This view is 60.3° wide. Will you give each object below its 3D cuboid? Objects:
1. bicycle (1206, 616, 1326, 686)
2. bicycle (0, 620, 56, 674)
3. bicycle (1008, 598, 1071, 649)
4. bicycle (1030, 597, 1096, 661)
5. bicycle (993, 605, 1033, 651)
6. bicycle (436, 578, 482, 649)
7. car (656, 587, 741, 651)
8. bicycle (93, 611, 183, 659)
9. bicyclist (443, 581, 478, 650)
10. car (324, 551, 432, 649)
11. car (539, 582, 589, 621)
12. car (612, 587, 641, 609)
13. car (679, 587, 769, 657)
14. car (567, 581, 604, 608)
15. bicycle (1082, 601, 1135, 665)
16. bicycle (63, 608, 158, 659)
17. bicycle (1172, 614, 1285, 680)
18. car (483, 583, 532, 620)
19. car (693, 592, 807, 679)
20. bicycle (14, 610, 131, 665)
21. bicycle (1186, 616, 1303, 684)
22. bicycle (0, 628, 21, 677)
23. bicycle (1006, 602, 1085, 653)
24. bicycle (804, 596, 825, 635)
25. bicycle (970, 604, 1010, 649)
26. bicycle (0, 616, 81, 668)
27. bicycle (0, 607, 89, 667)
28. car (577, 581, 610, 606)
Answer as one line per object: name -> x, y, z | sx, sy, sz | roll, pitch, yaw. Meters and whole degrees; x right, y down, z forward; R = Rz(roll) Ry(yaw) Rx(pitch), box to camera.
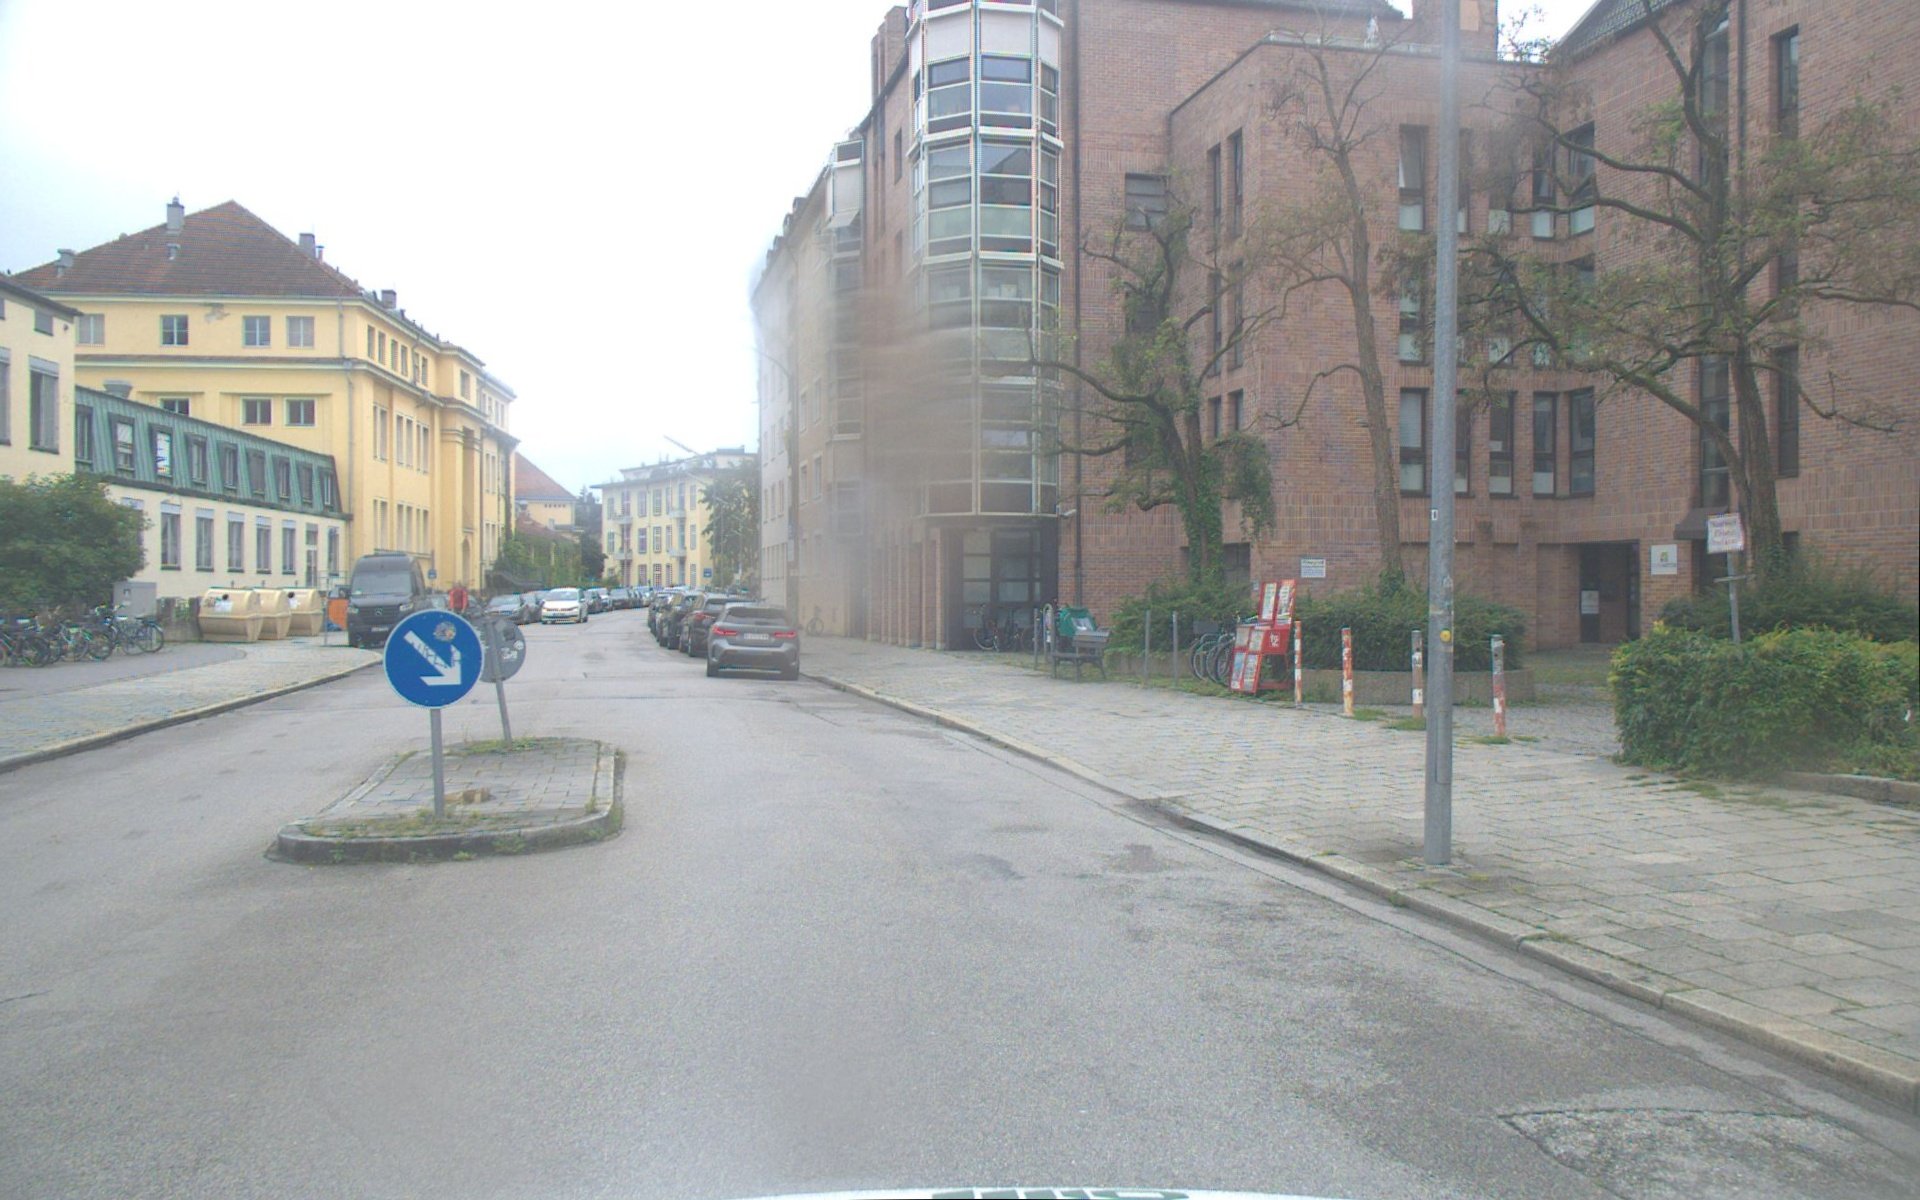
bicycle -> 4.570, 0.765, 24.721 | 1.670, 0.982, 0.545 | 1, 1, -12
bicycle -> -19.693, 0.955, 34.121 | 1.754, 1.051, 0.507 | 2, 1, -2
bicycle -> 1.917, 0.564, 39.849 | 1.448, 1.167, 0.382 | 2, 1, -6
bicycle -> 2.088, 0.587, 33.845 | 0.525, 1.270, 2.401 | 1, -1, -17
bicycle -> 1.303, 0.686, 41.033 | 0.478, 1.078, 1.989 | 1, 0, -14
bicycle -> -15.189, 0.384, 50.222 | 0.733, 2.048, 2.844 | -2, 1, -6
car -> -7.610, 0.515, 47.799 | 1.932, 1.630, 4.653 | 1, 1, -15
bicycle -> -20.444, 0.871, 41.152 | 1.866, 1.111, 0.677 | 2, 1, -2
bicyclist -> -15.237, 0.465, 50.476 | 0.752, 2.048, 0.767 | -3, 1, -6
car -> -17.706, 0.010, 50.621 | 2.380, 2.762, 5.933 | -1, 0, -13
car -> -18.734, 0.099, 78.360 | 1.989, 1.649, 4.493 | -2, -1, -10
car -> -25.882, -0.195, 128.560 | 1.956, 1.575, 3.992 | 2, 1, -9
car -> -6.220, 0.534, 43.216 | 1.800, 1.630, 4.249 | 1, 1, -15
car -> -23.902, -0.349, 105.656 | 1.956, 1.575, 3.992 | 2, 1, -9
bicycle -> 2.875, 0.627, 31.980 | 0.412, 1.193, 1.358 | 2, 1, 32
bicycle -> -20.291, 0.795, 39.520 | 1.917, 1.151, 0.573 | 2, 1, -2
bicycle -> 4.245, 0.744, 26.166 | 1.670, 0.982, 0.545 | 1, 1, -12
car -> -21.033, 0.055, 76.988 | 1.739, 1.577, 3.771 | 2, 1, -9
car -> -4.211, 0.649, 32.635 | 1.891, 1.539, 4.379 | 2, 0, -12
bicycle -> -19.899, 0.844, 37.110 | 2.263, 1.155, 0.581 | 2, 1, -2
bicycle -> 4.383, 0.770, 25.510 | 1.670, 0.982, 0.545 | 1, 1, -12
bicycle -> -19.453, 1.006, 32.485 | 1.641, 0.932, 0.595 | 2, 1, -2
bicycle -> 2.037, 0.652, 39.413 | 1.812, 1.167, 0.487 | 2, 1, -6
bicycle -> -5.227, 0.535, 59.325 | 0.460, 1.310, 2.668 | 1, 1, -10
bicycle -> 0.720, 0.650, 40.881 | 0.478, 1.078, 1.988 | 1, -1, -14
bicycle -> -19.915, 0.900, 35.446 | 1.829, 1.047, 0.539 | 2, 1, -2
bicycle -> -19.754, 0.779, 34.872 | 2.502, 1.227, 0.424 | 0, 1, -2
car -> -25.466, -0.452, 114.941 | 1.956, 1.575, 3.992 | 2, 1, -9
